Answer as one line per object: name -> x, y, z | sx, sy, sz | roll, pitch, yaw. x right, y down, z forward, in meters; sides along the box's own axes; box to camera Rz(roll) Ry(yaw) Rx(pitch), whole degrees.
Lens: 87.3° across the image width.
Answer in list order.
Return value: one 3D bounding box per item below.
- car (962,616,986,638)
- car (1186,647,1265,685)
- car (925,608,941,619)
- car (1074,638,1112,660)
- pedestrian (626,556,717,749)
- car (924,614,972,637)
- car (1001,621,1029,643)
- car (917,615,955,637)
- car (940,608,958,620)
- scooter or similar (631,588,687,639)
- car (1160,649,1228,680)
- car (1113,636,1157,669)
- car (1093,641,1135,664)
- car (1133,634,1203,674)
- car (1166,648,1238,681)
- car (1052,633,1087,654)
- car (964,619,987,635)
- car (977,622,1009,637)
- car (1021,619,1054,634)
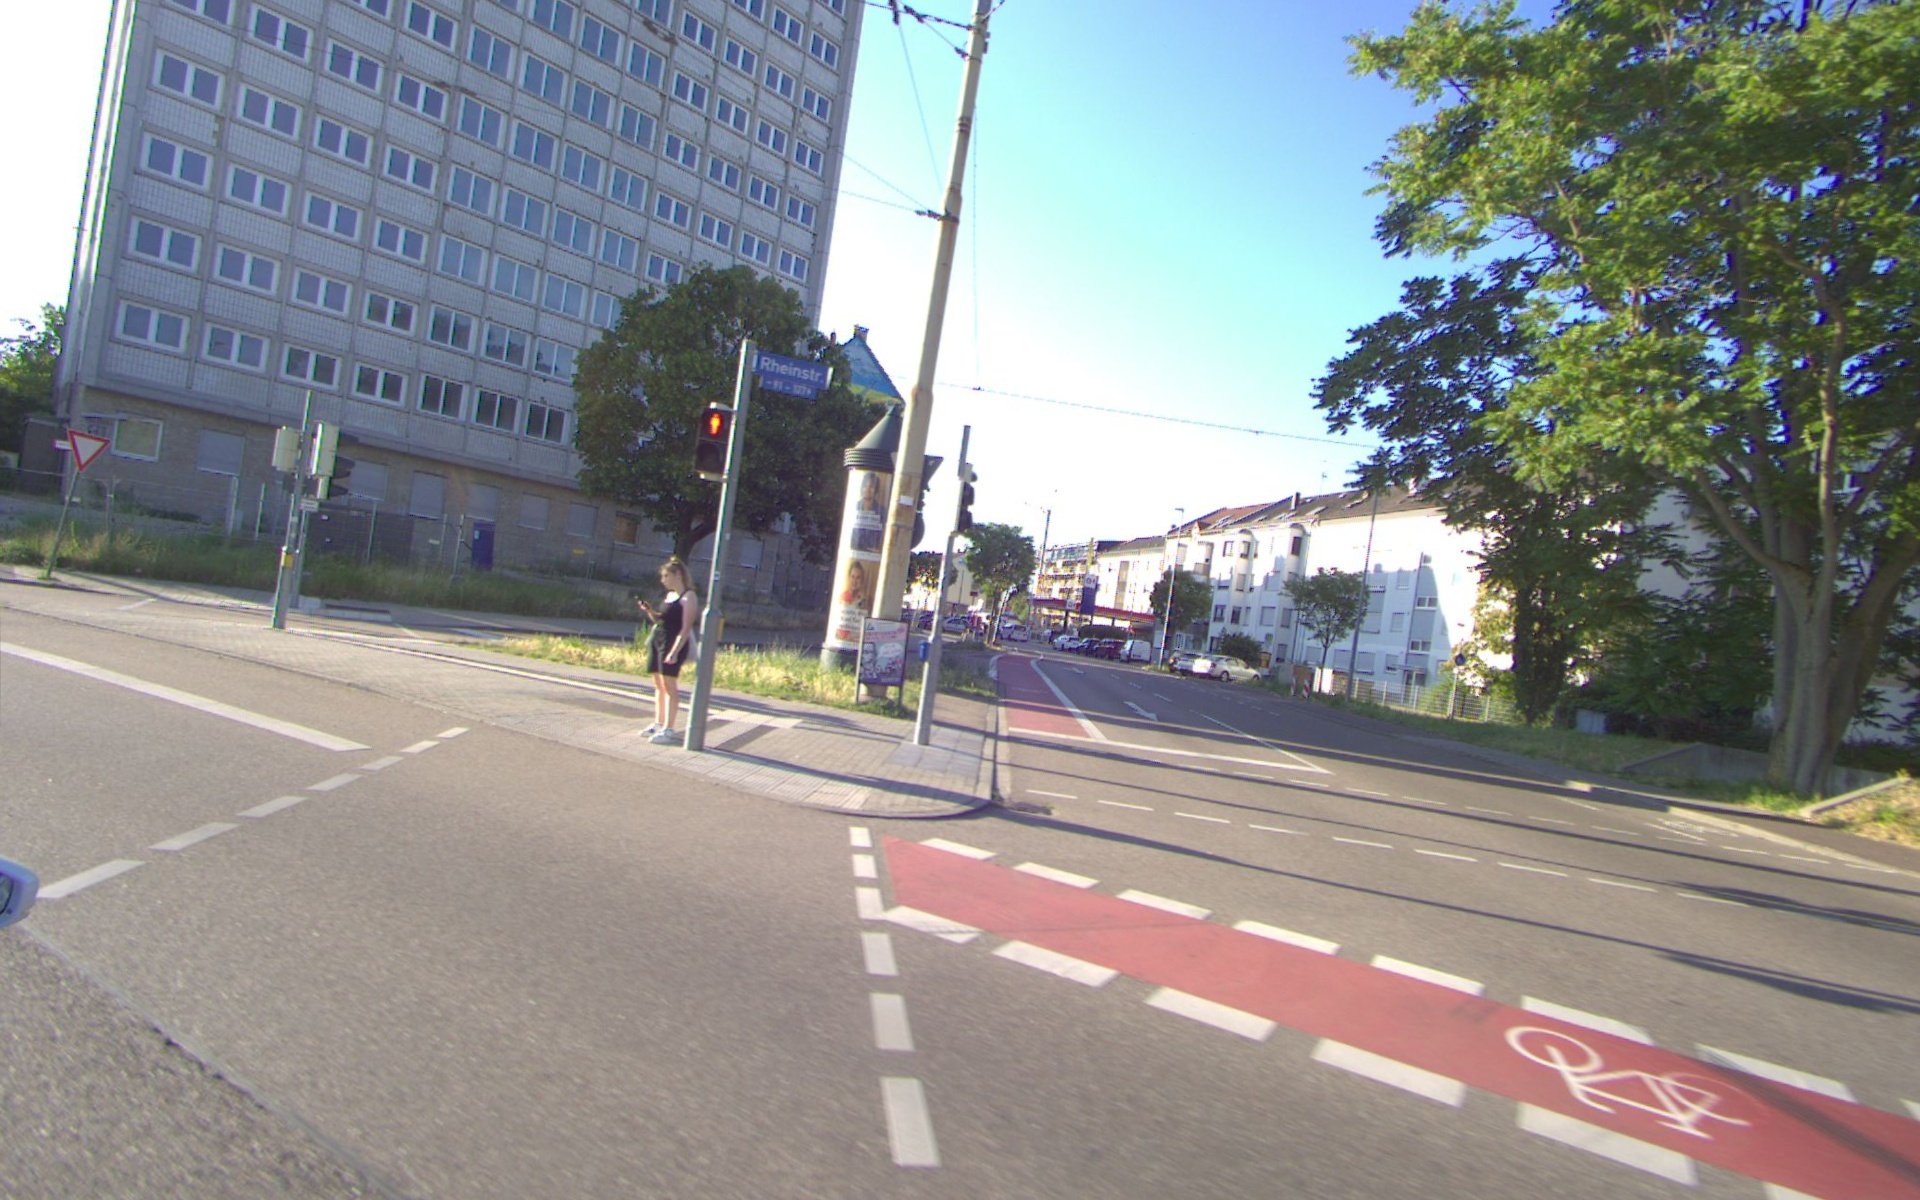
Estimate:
car -> 1.384, 2.758, 103.683 | 1.832, 1.926, 3.997 | 7, -1, -6
car -> 14.870, 3.719, 56.302 | 4.182, 1.582, 1.765 | 8, -1, -31
car -> -4.346, 2.111, 160.216 | 1.833, 1.562, 3.995 | 7, -1, -8
car -> 11.323, 4.191, 85.675 | 1.859, 1.401, 3.992 | 9, -1, -11
pedestrian -> -2.585, 0.455, 8.982 | 0.433, 1.632, 0.624 | 7, 0, -34
car -> -1.007, 2.101, 83.041 | 3.655, 1.316, 1.507 | 8, -1, -14
car -> 5.904, 3.441, 108.447 | 1.835, 1.926, 3.990 | 7, -1, -13
car -> -2.092, 2.233, 87.541 | 2.980, 1.555, 1.265 | 7, -1, -9
car -> -1.603, 2.038, 146.484 | 1.833, 1.562, 3.873 | 7, -1, -9
scooter or similar -> -7.908, 0.367, 26.465 | 1.293, 1.184, 0.323 | 8, 0, -43
car -> 14.494, 4.008, 62.298 | 3.965, 1.399, 1.885 | 8, -1, -36
car -> 13.005, 3.850, 75.048 | 1.966, 2.038, 3.996 | 7, -1, -7
car -> 12.342, 4.182, 80.937 | 1.889, 1.401, 3.968 | 9, -1, -11
car -> 13.573, 3.527, 65.488 | 4.188, 2.038, 1.981 | 8, -1, -35
car -> 14.236, 3.814, 59.192 | 3.965, 1.442, 1.885 | 8, -1, -36
car -> 9.928, 3.950, 91.482 | 1.804, 1.401, 3.990 | 9, -1, -14
car -> 1.900, 3.405, 126.809 | 1.904, 1.562, 3.991 | 7, -1, -12
car -> 4.483, 3.993, 136.446 | 3.995, 1.476, 1.876 | 8, -1, -11
car -> 10.610, 3.614, 137.788 | 3.995, 1.476, 1.876 | 8, -1, -11
